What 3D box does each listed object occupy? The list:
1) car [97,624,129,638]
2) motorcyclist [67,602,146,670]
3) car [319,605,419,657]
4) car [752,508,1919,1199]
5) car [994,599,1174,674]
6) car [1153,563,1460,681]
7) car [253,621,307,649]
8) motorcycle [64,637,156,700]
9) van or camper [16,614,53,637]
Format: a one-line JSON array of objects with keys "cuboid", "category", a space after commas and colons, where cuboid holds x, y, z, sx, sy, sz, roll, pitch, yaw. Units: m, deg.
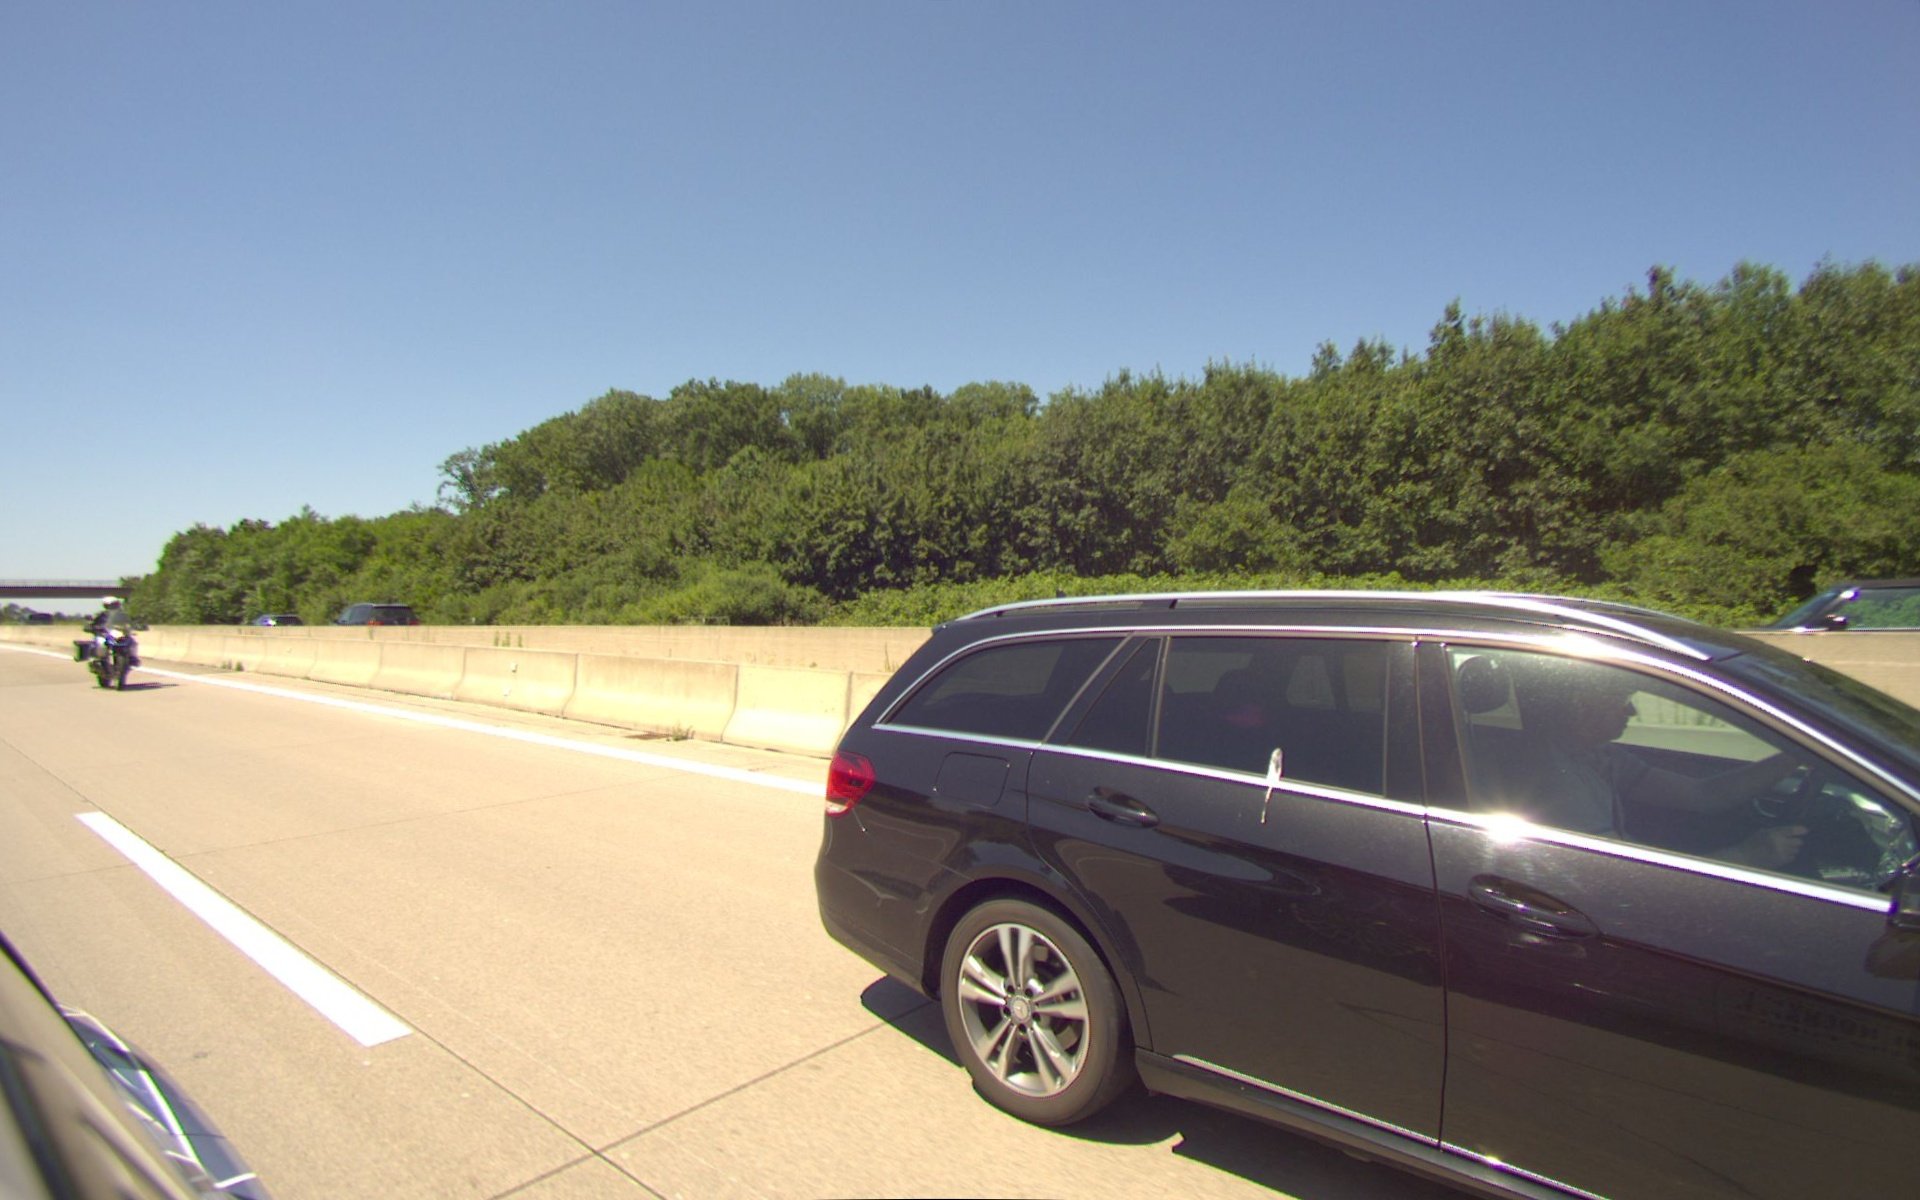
[{"cuboid": [-86.565, 3.181, 103.419, 3.999, 1.386, 1.907, -2, -1, 42], "category": "car"}, {"cuboid": [-15.976, 0.662, 18.949, 0.911, 1.218, 1.013, -3, -1, 43], "category": "motorcyclist"}, {"cuboid": [-20.433, 1.056, 34.927, 4.156, 1.670, 1.686, -1, -1, 40], "category": "car"}, {"cuboid": [2.002, 0.593, 2.379, 5.601, 1.484, 1.871, -3, -1, 41], "category": "car"}, {"cuboid": [2.947, 0.838, 24.566, 4.087, 1.670, 1.686, -1, -1, 40], "category": "car"}, {"cuboid": [5.492, 0.354, 16.396, 4.402, 1.670, 1.686, -1, -1, 40], "category": "car"}, {"cuboid": [-36.233, 1.851, 53.907, 3.522, 1.429, 1.614, -2, -1, 42], "category": "car"}, {"cuboid": [-15.903, 1.252, 18.906, 2.413, 1.056, 1.010, -3, -1, 43], "category": "motorcycle"}, {"cuboid": [-80.036, 2.236, 87.510, 4.414, 1.896, 1.829, -2, -1, 41], "category": "van or camper"}]
